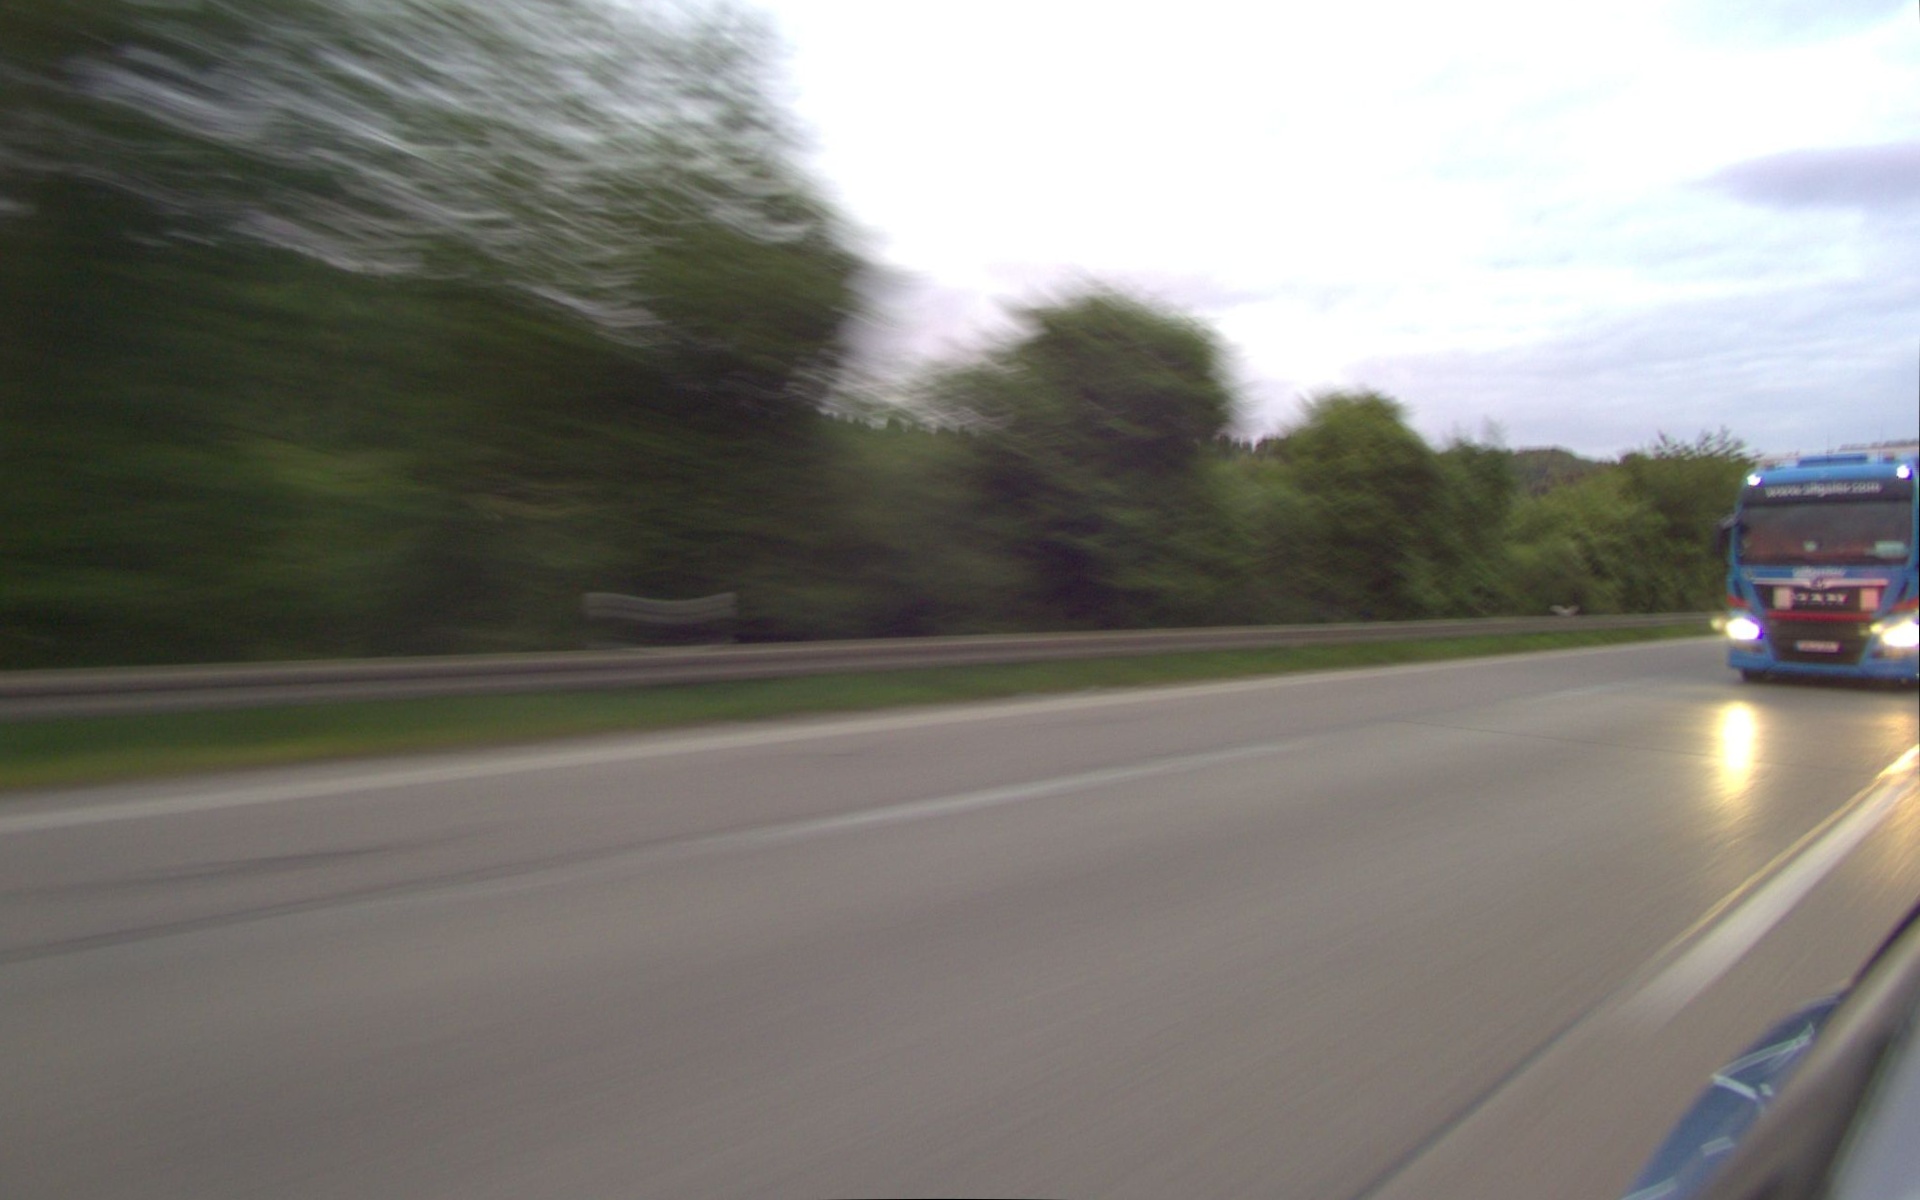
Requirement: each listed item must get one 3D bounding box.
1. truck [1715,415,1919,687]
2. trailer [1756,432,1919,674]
[{"bbox_3d":[15.723,-0.773,17.809,5.747,4.046,2.741,0,1,-41],"label":"truck"},{"bbox_3d":[20.929,-0.875,22.347,13.499,4.137,2.777,-1,1,-41],"label":"trailer"}]
